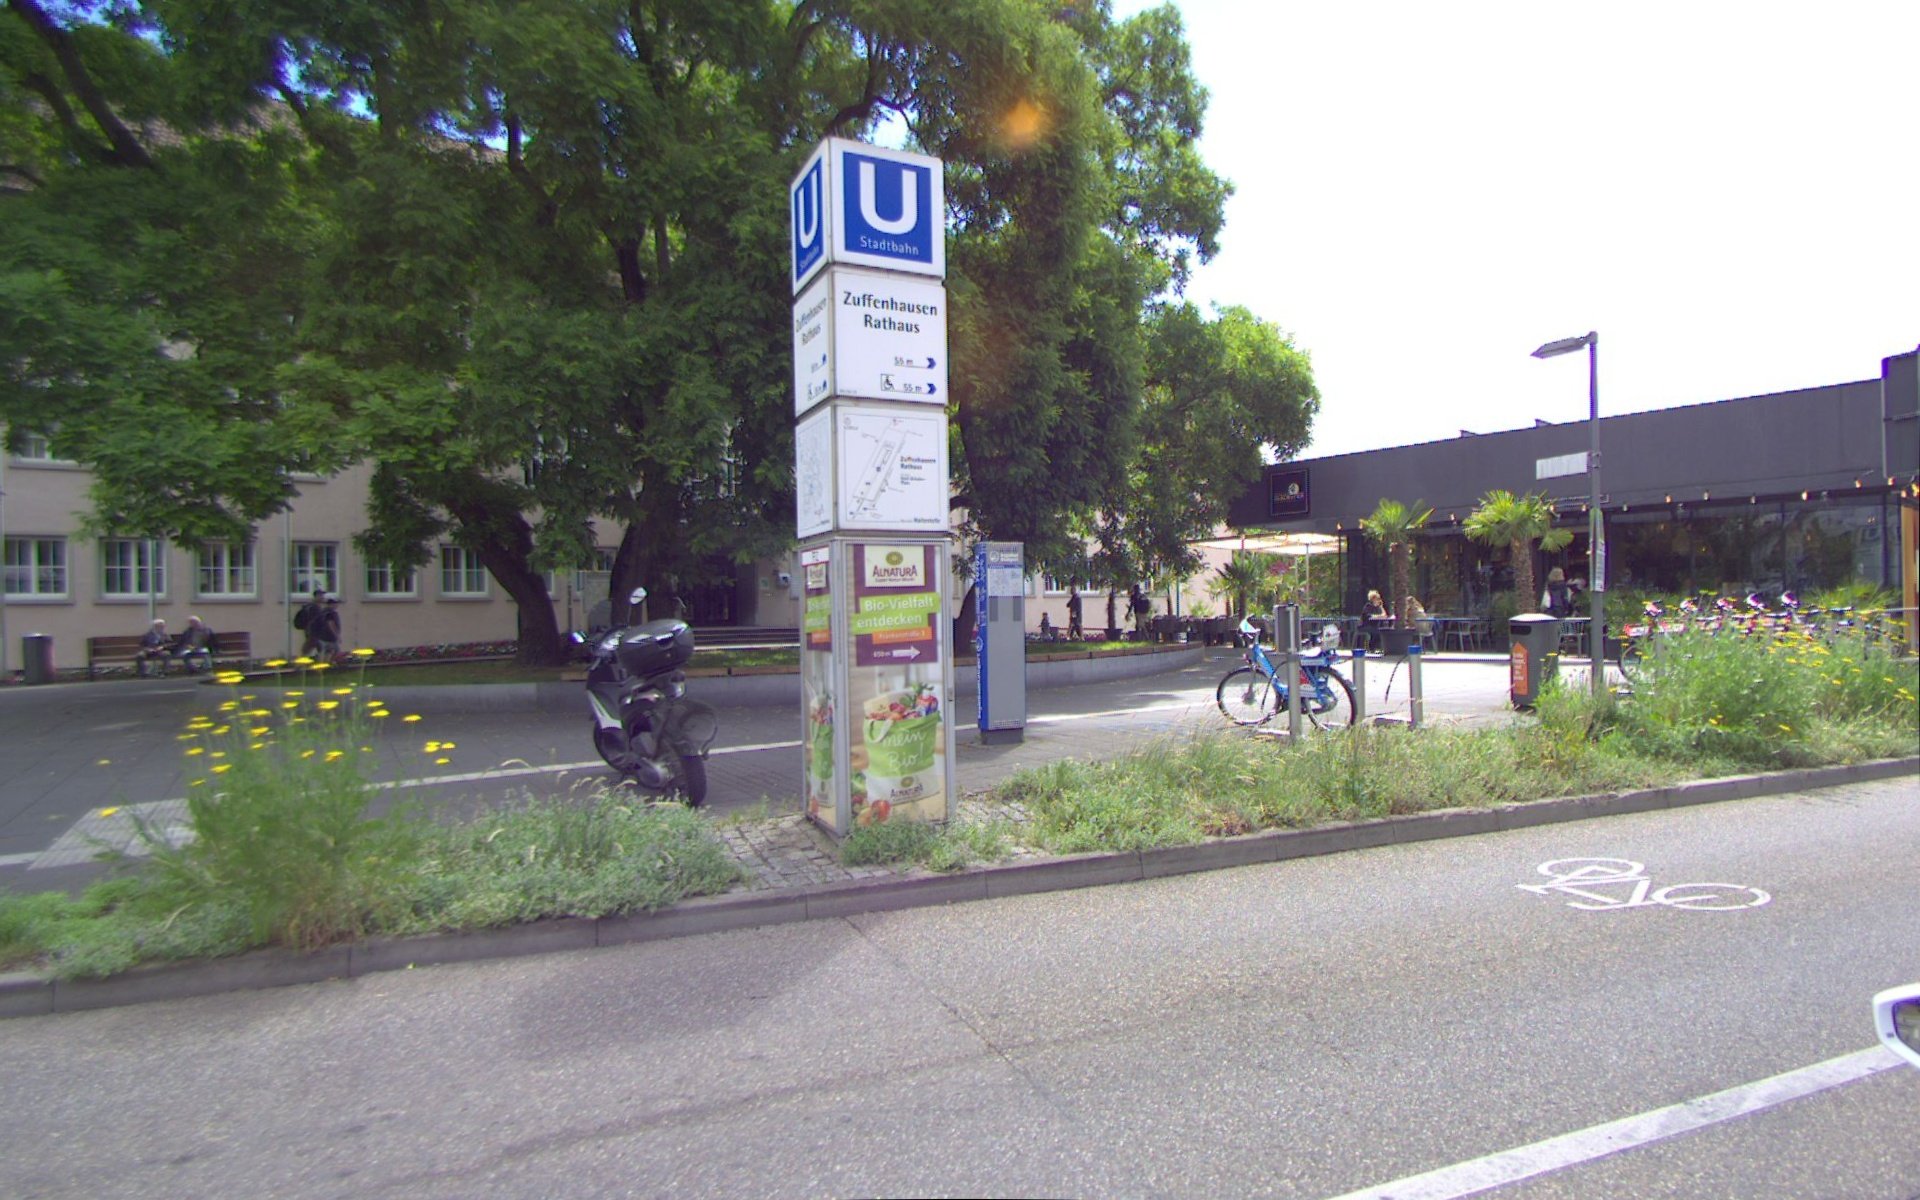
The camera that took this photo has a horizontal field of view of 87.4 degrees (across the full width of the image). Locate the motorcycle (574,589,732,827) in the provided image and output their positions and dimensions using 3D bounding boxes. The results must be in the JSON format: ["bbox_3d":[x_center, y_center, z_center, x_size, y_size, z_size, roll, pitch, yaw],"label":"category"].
[{"bbox_3d":[-2.300,0.710,7.329,0.640,1.468,2.179,2,-2,-29],"label":"motorcycle"}]

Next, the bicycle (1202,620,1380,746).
[{"bbox_3d":[3.156,0.756,9.720,0.509,1.096,1.677,-2,0,-32],"label":"bicycle"}]

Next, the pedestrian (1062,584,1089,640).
[{"bbox_3d":[3.831,0.392,33.369,0.586,1.832,0.639,2,-1,-28],"label":"pedestrian"}]

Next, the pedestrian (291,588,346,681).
[{"bbox_3d":[-13.300,0.693,20.843,0.867,1.875,0.657,-1,0,-28],"label":"pedestrian"}]

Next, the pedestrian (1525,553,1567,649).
[{"bbox_3d":[12.885,0.034,22.095,0.664,2.079,0.625,2,-1,-44],"label":"pedestrian"}]

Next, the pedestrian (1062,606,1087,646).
[{"bbox_3d":[3.897,0.889,34.222,0.586,1.356,0.639,2,-1,-28],"label":"pedestrian"}]

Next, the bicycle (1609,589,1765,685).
[{"bbox_3d":[9.277,0.468,12.882,0.527,1.142,1.540,0,-2,-28],"label":"bicycle"}]

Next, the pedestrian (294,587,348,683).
[{"bbox_3d":[-12.885,0.693,20.282,0.819,1.875,0.657,-1,0,-28],"label":"pedestrian"}]

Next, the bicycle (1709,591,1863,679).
[{"bbox_3d":[11.367,0.482,13.878,0.527,1.142,1.540,0,-2,-28],"label":"bicycle"}]

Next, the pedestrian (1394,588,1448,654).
[{"bbox_3d":[9.973,0.459,21.725,0.787,1.397,0.790,2,-1,-41],"label":"pedestrian"}]

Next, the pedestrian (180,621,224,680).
[{"bbox_3d":[-16.615,1.096,22.034,0.683,1.242,0.810,-1,0,-33],"label":"pedestrian"}]

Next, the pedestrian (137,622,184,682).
[{"bbox_3d":[-17.227,1.110,21.649,0.683,1.242,0.810,-1,0,-33],"label":"pedestrian"}]

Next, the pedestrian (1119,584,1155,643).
[{"bbox_3d":[4.830,0.376,27.449,0.636,1.585,0.731,2,-1,-29],"label":"pedestrian"}]

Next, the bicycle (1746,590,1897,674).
[{"bbox_3d":[12.296,0.454,14.383,0.527,1.142,1.540,0,-2,-28],"label":"bicycle"}]

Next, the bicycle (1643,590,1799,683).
[{"bbox_3d":[9.947,0.471,13.180,0.527,1.142,1.540,0,-2,-28],"label":"bicycle"}]

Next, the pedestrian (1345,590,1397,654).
[{"bbox_3d":[9.263,0.492,22.632,0.787,1.397,0.790,2,-1,-41],"label":"pedestrian"}]

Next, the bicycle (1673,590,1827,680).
[{"bbox_3d":[10.592,0.468,13.520,0.527,1.142,1.540,0,-2,-28],"label":"bicycle"}]
